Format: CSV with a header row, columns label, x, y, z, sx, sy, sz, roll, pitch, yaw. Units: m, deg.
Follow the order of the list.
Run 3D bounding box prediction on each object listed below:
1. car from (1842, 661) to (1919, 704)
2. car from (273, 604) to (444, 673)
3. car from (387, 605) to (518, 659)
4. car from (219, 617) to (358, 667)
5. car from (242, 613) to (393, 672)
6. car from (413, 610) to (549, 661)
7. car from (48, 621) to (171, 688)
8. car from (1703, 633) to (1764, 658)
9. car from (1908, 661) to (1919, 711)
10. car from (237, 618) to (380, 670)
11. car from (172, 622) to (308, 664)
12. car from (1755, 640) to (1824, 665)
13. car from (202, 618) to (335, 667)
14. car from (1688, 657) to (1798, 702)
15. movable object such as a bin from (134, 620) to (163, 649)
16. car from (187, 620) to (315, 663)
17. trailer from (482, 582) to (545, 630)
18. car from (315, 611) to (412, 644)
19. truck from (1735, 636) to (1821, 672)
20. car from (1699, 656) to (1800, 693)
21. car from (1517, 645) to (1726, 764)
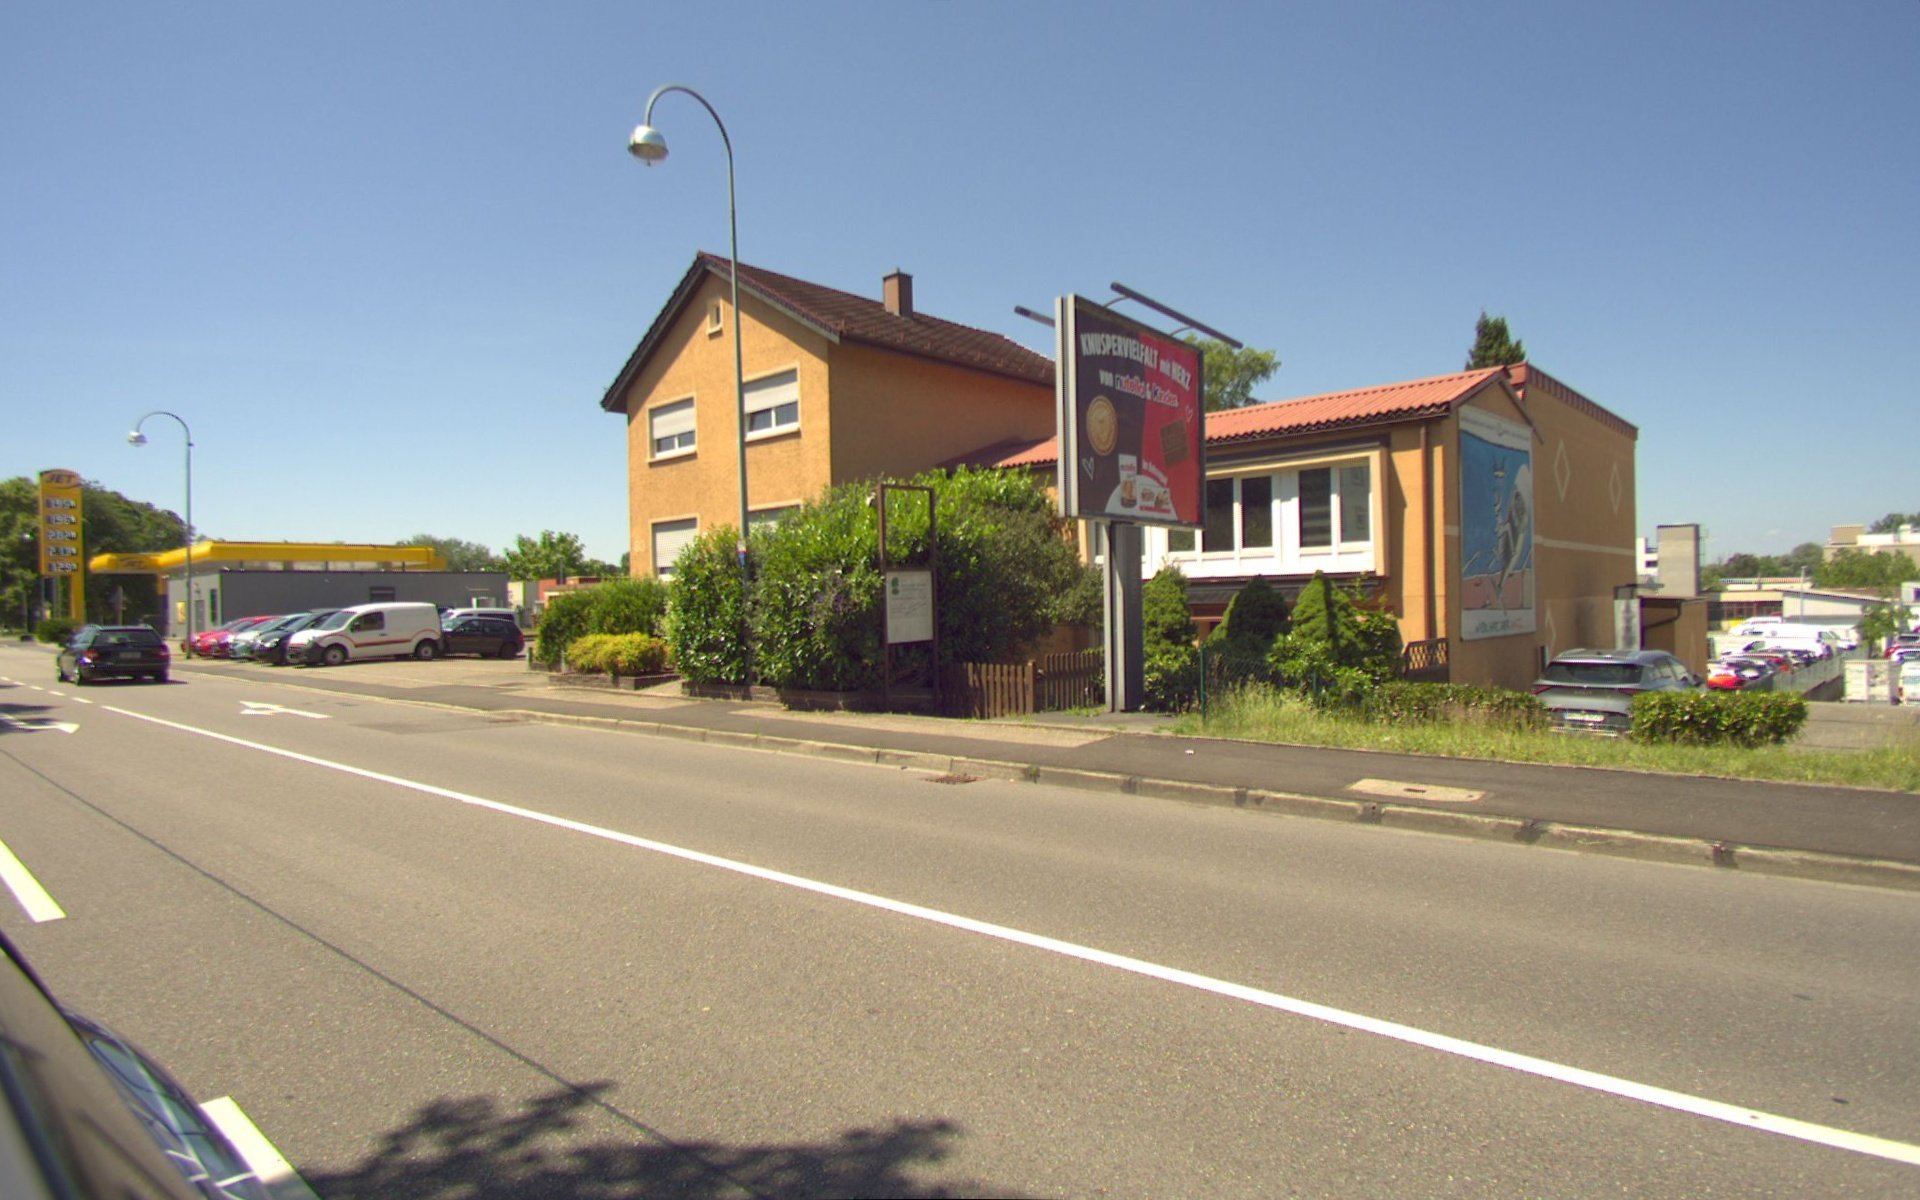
label,x,y,z,sx,sy,sz,roll,pitch,yaw
car,42.872,3.743,46.253,3.813,1.806,1.755,-2,-1,41
car,-18.396,1.112,31.093,1.996,1.912,4.057,-1,0,36
car,-18.623,1.154,37.277,1.998,1.875,3.863,-1,-1,39
car,-23.338,1.417,35.265,1.920,1.593,3.628,-1,0,39
car,-20.310,1.282,32.074,1.920,1.685,3.628,-1,0,39
car,-16.944,1.238,35.961,1.828,1.580,3.947,-2,0,39
car,-21.144,1.312,25.105,4.275,1.506,1.692,-2,-1,41
car,51.693,3.043,67.681,3.125,1.545,1.663,-1,0,42
car,39.629,3.368,39.539,3.726,1.954,1.881,-1,-1,-10
car,-21.752,1.417,33.877,1.920,1.543,3.628,-1,0,39
car,-28.403,1.653,40.035,1.826,1.455,4.083,-1,0,40
car,48.232,3.043,58.857,3.043,1.309,1.288,-1,0,41
car,-25.012,1.483,36.676,1.880,1.617,3.628,-1,0,39
car,35.269,3.529,45.612,3.816,1.740,1.728,-1,0,42
movable object such as a bin,-45.242,1.920,56.421,1.428,1.528,0.942,-3,2,42
car,-26.882,1.525,38.438,1.890,1.468,3.628,-1,0,39
trailer,-31.866,0.454,72.142,5.912,3.244,1.845,-2,-1,42
car,-30.580,1.373,51.938,1.755,1.596,3.942,-1,0,44
truck,49.512,3.247,61.267,3.982,1.992,1.663,-1,0,42
car,40.598,3.792,52.084,3.999,1.648,1.824,-1,-1,42
car,10.316,1.500,15.666,3.979,1.462,1.782,0,-1,-43
